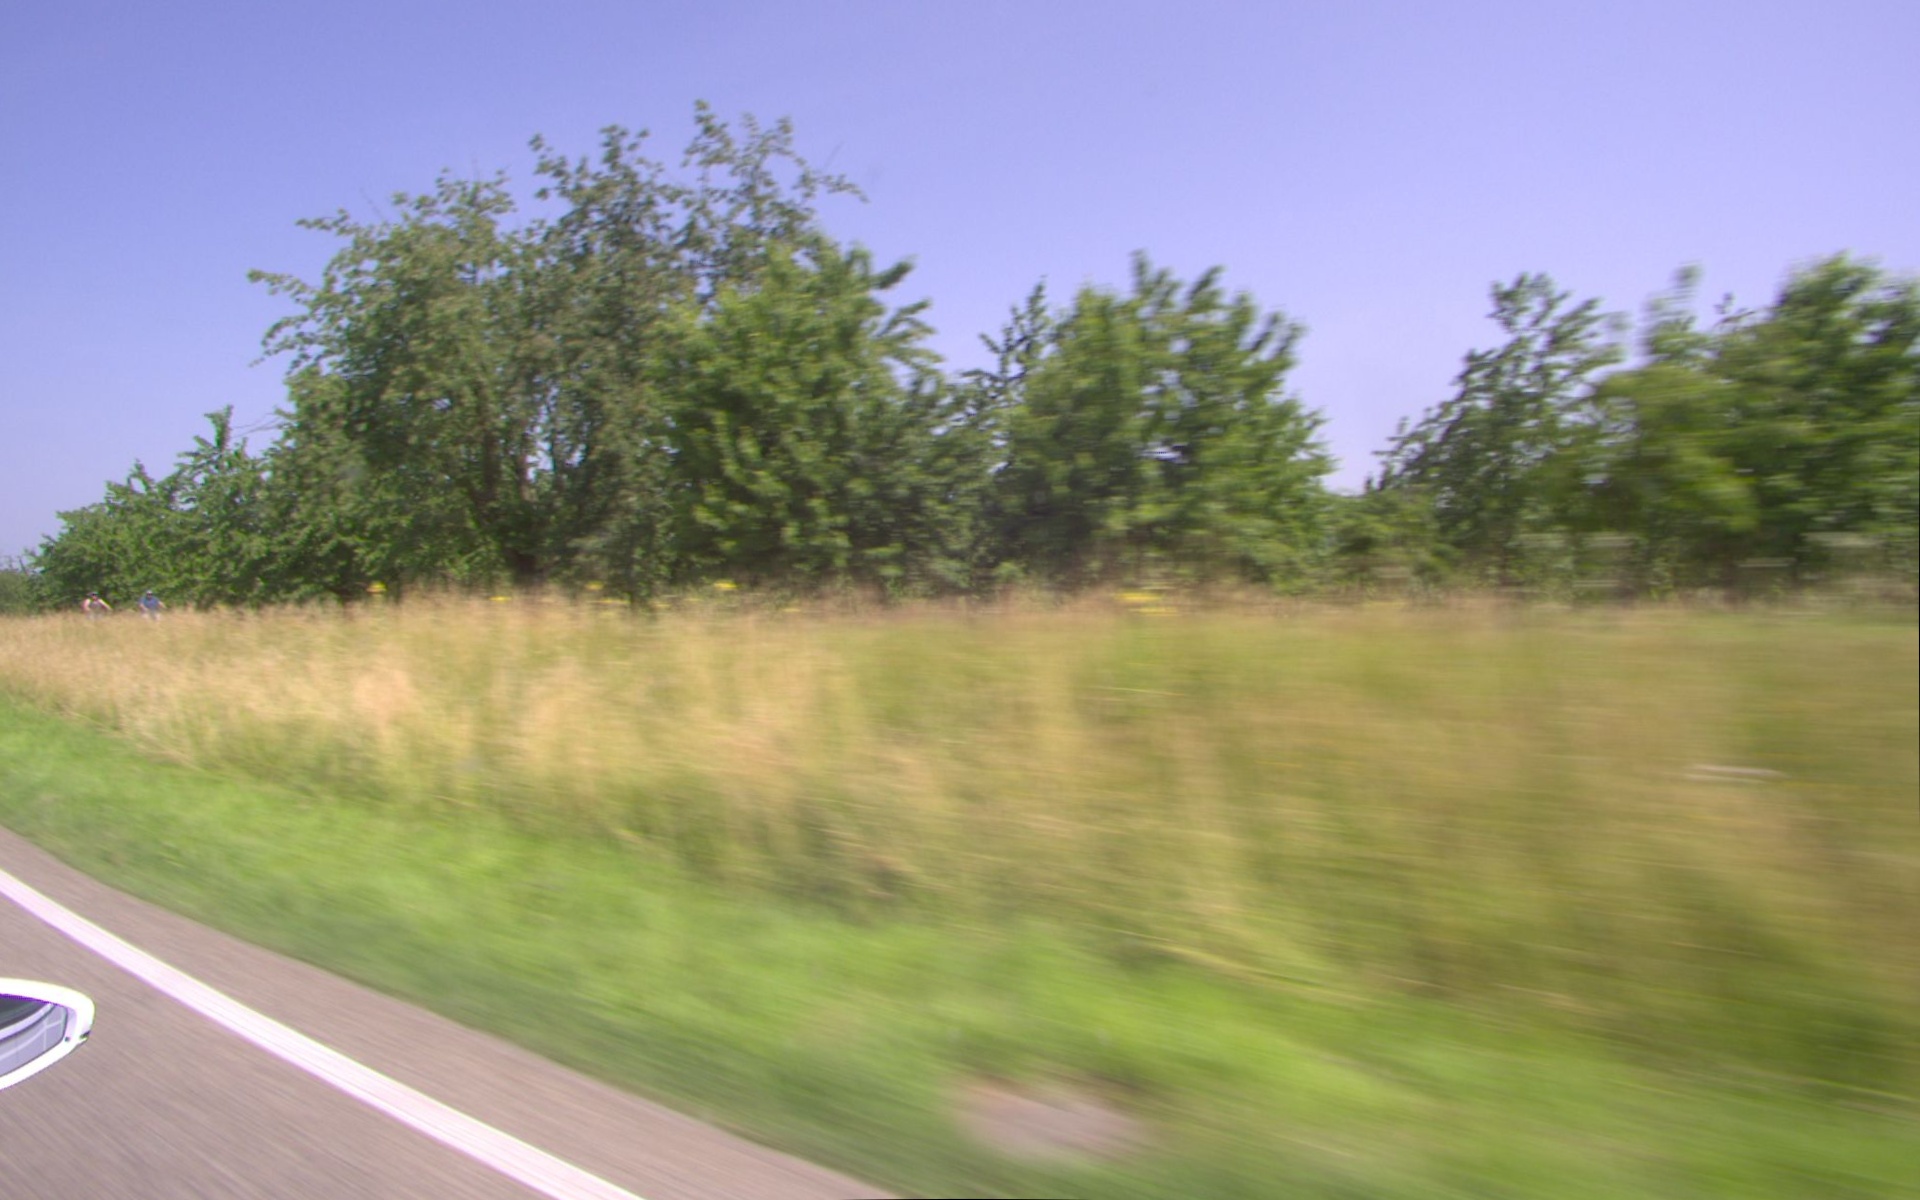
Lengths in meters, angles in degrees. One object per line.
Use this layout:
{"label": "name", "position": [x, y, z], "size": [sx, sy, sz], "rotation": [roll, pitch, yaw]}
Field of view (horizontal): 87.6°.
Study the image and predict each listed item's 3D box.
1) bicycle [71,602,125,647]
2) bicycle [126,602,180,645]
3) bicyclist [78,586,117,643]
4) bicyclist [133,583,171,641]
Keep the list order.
{"label": "bicycle", "position": [-28.887, 0.804, 33.560], "size": [2.189, 1.437, 0.748], "rotation": [0, 1, 33]}
{"label": "bicycle", "position": [-27.895, 0.816, 34.600], "size": [2.189, 1.437, 0.748], "rotation": [0, 1, 33]}
{"label": "bicyclist", "position": [-28.907, 0.473, 33.565], "size": [0.857, 1.892, 0.748], "rotation": [0, 2, 32]}
{"label": "bicyclist", "position": [-27.906, 0.412, 34.602], "size": [0.816, 1.956, 0.748], "rotation": [0, 2, 32]}
